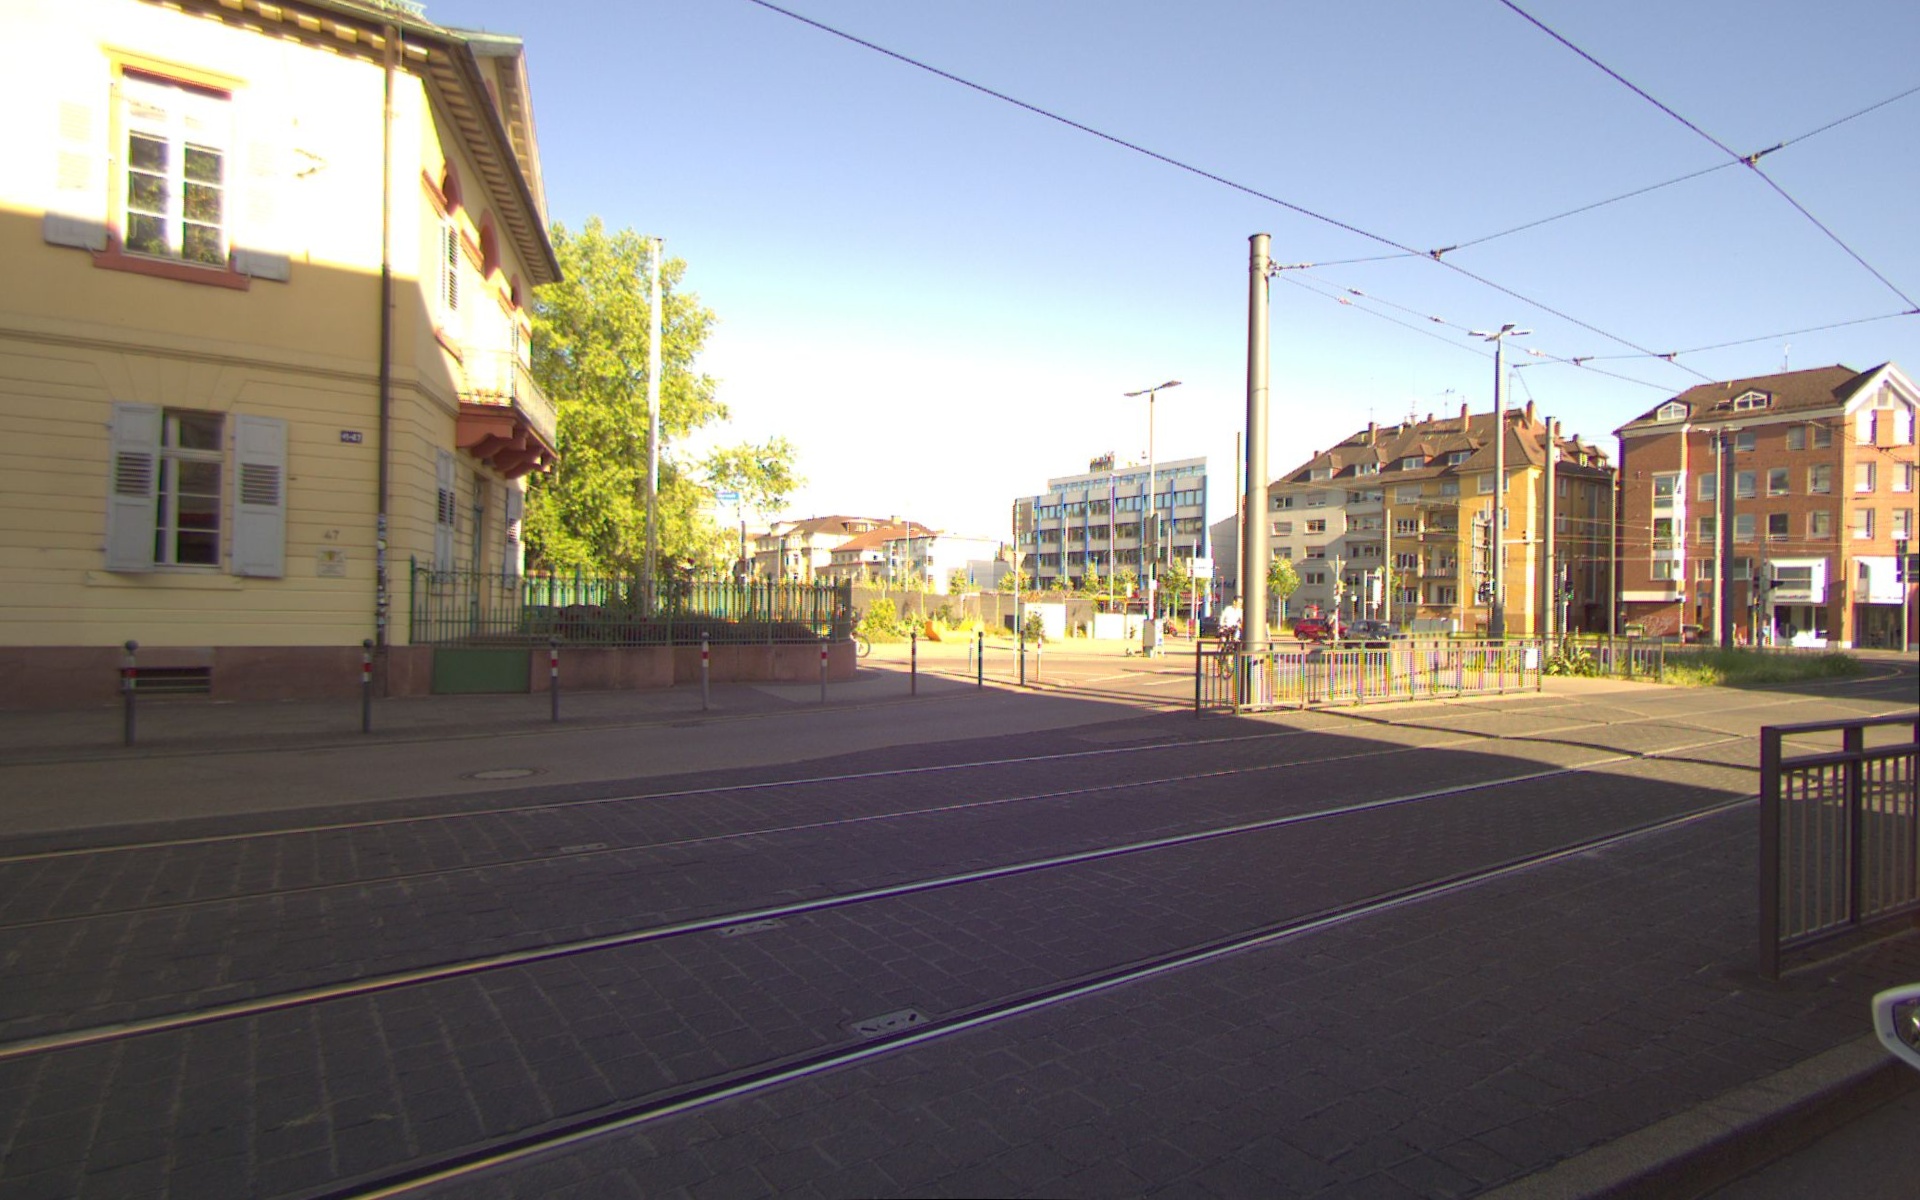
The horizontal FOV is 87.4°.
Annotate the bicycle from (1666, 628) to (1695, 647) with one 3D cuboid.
[{"bbox_3d":[39.723,2.066,55.376,2.220,0.984,0.444,2,0,-31],"label":"bicycle"}]

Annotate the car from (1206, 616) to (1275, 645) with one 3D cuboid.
[{"bbox_3d":[18.003,1.942,64.579,1.762,1.694,3.955,2,0,-39],"label":"car"}]

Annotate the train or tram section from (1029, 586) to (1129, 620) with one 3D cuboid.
[{"bbox_3d":[11.930,0.263,102.286,2.783,3.172,11.135,2,0,-40],"label":"train or tram section"}]

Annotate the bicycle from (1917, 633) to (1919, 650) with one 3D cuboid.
[{"bbox_3d":[64.210,2.741,66.535,2.197,1.103,0.535,2,0,-28],"label":"bicycle"}]

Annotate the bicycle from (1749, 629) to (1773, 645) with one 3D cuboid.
[{"bbox_3d":[50.368,2.342,63.137,1.669,0.994,0.403,2,0,-22],"label":"bicycle"}]

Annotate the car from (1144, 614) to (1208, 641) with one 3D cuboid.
[{"bbox_3d":[14.744,1.871,68.570,1.895,1.708,3.916,2,0,-41],"label":"car"}]

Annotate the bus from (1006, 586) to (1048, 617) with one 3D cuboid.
[{"bbox_3d":[7.196,0.149,107.942,2.750,3.172,3.484,2,0,-42],"label":"bus"}]

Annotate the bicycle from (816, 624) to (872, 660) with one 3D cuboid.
[{"bbox_3d":[-3.466,1.244,30.037,1.570,1.007,0.404,2,0,13],"label":"bicycle"}]

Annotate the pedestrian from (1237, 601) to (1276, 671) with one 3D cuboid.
[{"bbox_3d":[7.427,0.900,25.201,0.759,1.703,0.592,2,0,-1],"label":"pedestrian"}]

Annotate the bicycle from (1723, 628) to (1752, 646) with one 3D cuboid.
[{"bbox_3d":[45.581,2.172,58.879,2.220,0.984,0.521,2,0,-31],"label":"bicycle"}]

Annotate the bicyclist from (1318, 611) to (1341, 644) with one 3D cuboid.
[{"bbox_3d":[20.966,1.575,57.021,0.785,1.832,0.892,2,0,-42],"label":"bicyclist"}]

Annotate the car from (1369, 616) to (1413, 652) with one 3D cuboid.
[{"bbox_3d":[20.210,1.551,47.236,1.613,1.546,3.865,2,0,20],"label":"car"}]

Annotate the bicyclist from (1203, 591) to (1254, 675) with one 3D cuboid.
[{"bbox_3d":[5.861,0.712,21.941,0.747,1.783,0.749,2,0,-20],"label":"bicyclist"}]

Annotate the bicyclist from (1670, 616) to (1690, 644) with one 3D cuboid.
[{"bbox_3d":[39.704,1.649,55.363,0.688,1.523,0.630,2,0,-30],"label":"bicyclist"}]

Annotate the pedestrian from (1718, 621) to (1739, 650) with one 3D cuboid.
[{"bbox_3d":[50.058,2.319,65.434,0.737,1.845,0.781,2,0,-28],"label":"pedestrian"}]

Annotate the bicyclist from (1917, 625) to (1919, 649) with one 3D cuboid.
[{"bbox_3d":[63.930,2.479,66.368,0.737,1.584,0.781,2,0,-28],"label":"bicyclist"}]

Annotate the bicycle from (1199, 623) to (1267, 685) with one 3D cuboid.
[{"bbox_3d":[5.888,1.147,21.768,0.478,1.238,1.847,2,0,-18],"label":"bicycle"}]

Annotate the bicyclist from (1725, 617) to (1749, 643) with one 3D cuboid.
[{"bbox_3d":[45.567,1.750,58.875,0.688,1.523,0.894,2,0,-30],"label":"bicyclist"}]

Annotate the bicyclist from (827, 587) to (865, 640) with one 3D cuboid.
[{"bbox_3d":[-3.416,0.408,30.021,1.022,1.542,0.392,2,0,13],"label":"bicyclist"}]

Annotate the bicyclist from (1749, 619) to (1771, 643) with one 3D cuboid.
[{"bbox_3d":[50.358,1.934,63.218,0.958,1.490,0.702,1,0,-22],"label":"bicyclist"}]

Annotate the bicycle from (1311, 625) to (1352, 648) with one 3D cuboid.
[{"bbox_3d":[21.061,2.064,56.951,0.542,1.230,2.168,2,0,-41],"label":"bicycle"}]

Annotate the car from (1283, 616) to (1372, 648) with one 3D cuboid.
[{"bbox_3d":[21.869,1.885,59.896,1.984,1.723,4.545,2,0,-41],"label":"car"}]
